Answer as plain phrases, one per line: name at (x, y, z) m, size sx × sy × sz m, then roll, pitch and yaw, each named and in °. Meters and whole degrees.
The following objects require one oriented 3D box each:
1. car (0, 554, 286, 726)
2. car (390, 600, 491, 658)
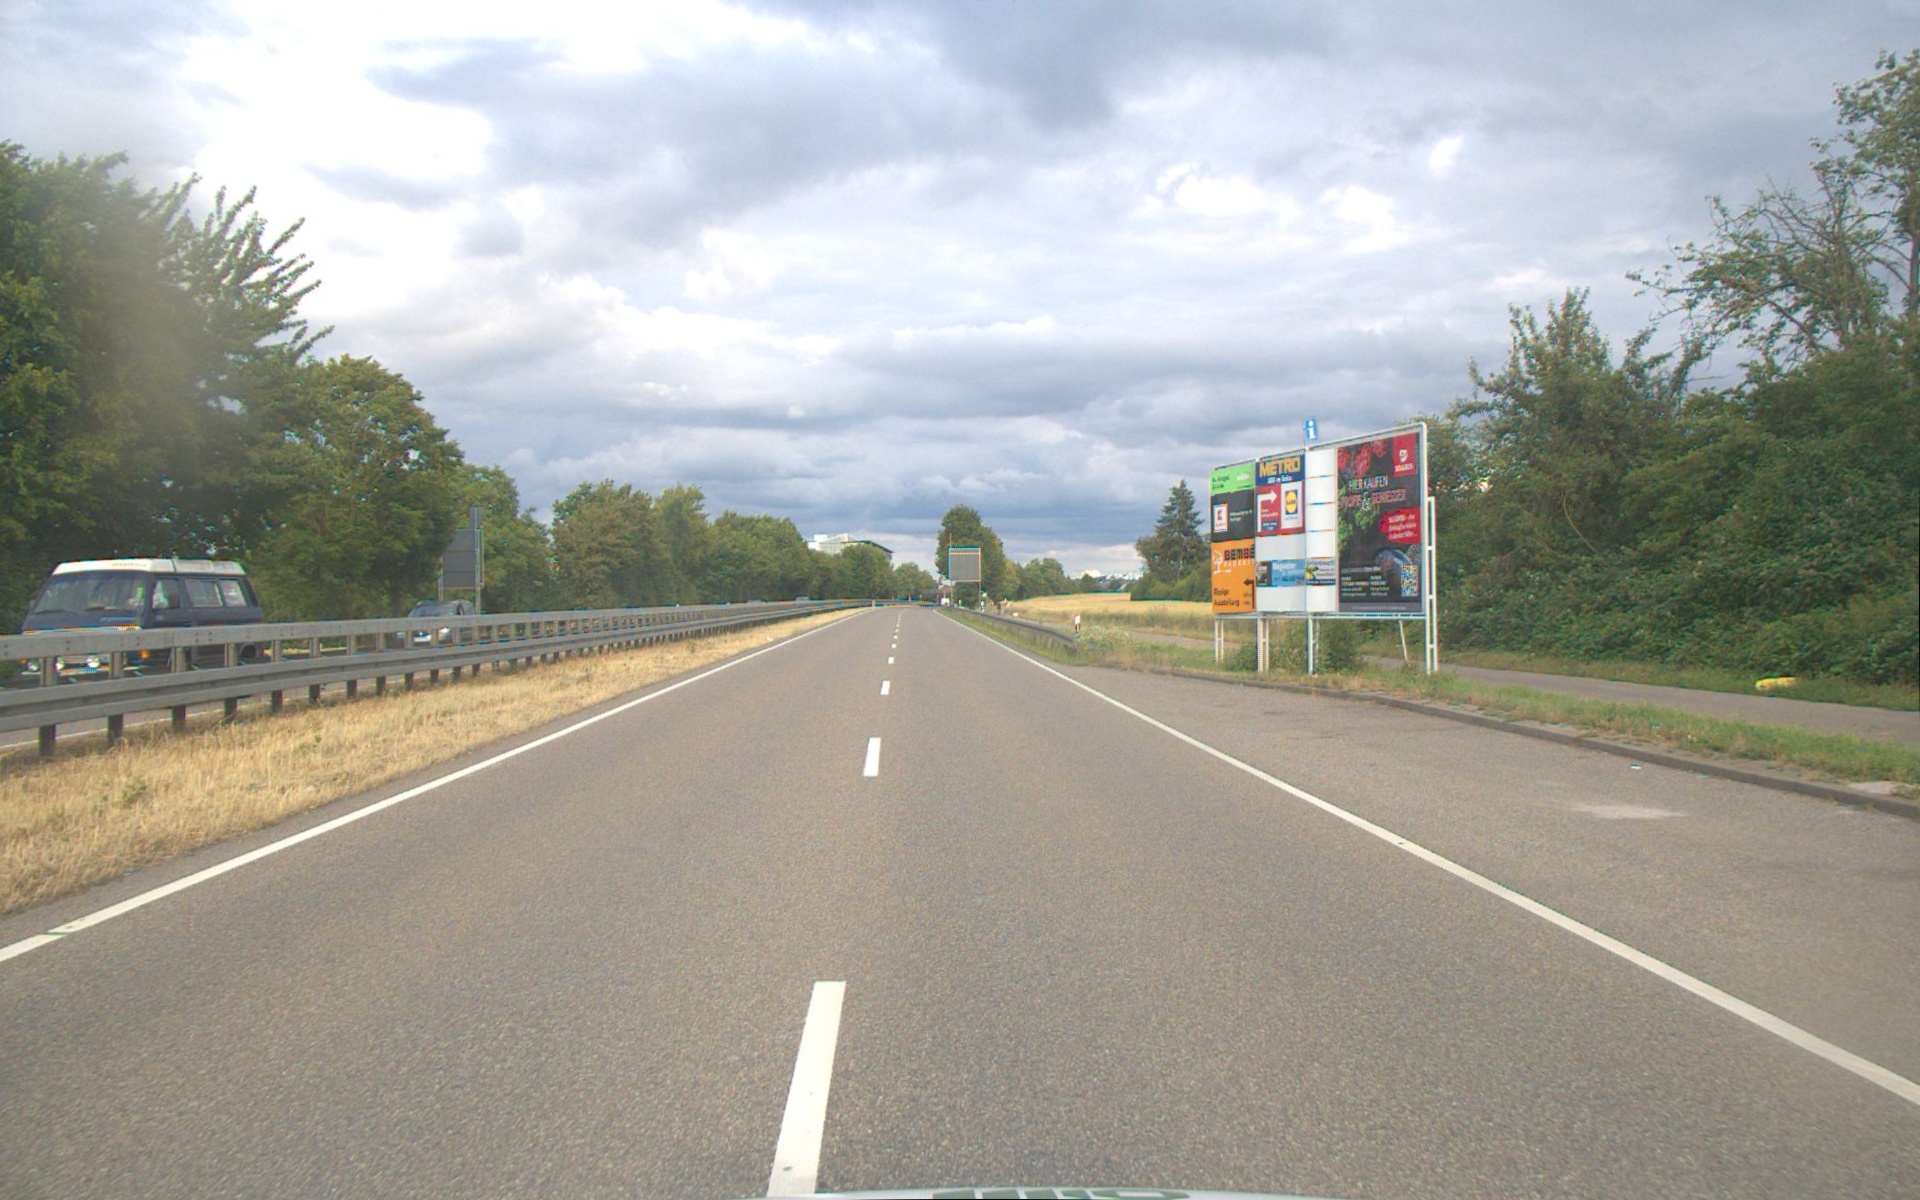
car at (-11.936, 0.525, 24.196) m, size 1.953 × 2.178 × 5.318 m, roll -2°, pitch 0°, yaw -1°
car at (-16.179, 0.874, 51.742) m, size 1.761 × 1.654 × 4.482 m, roll -2°, pitch 0°, yaw -1°
